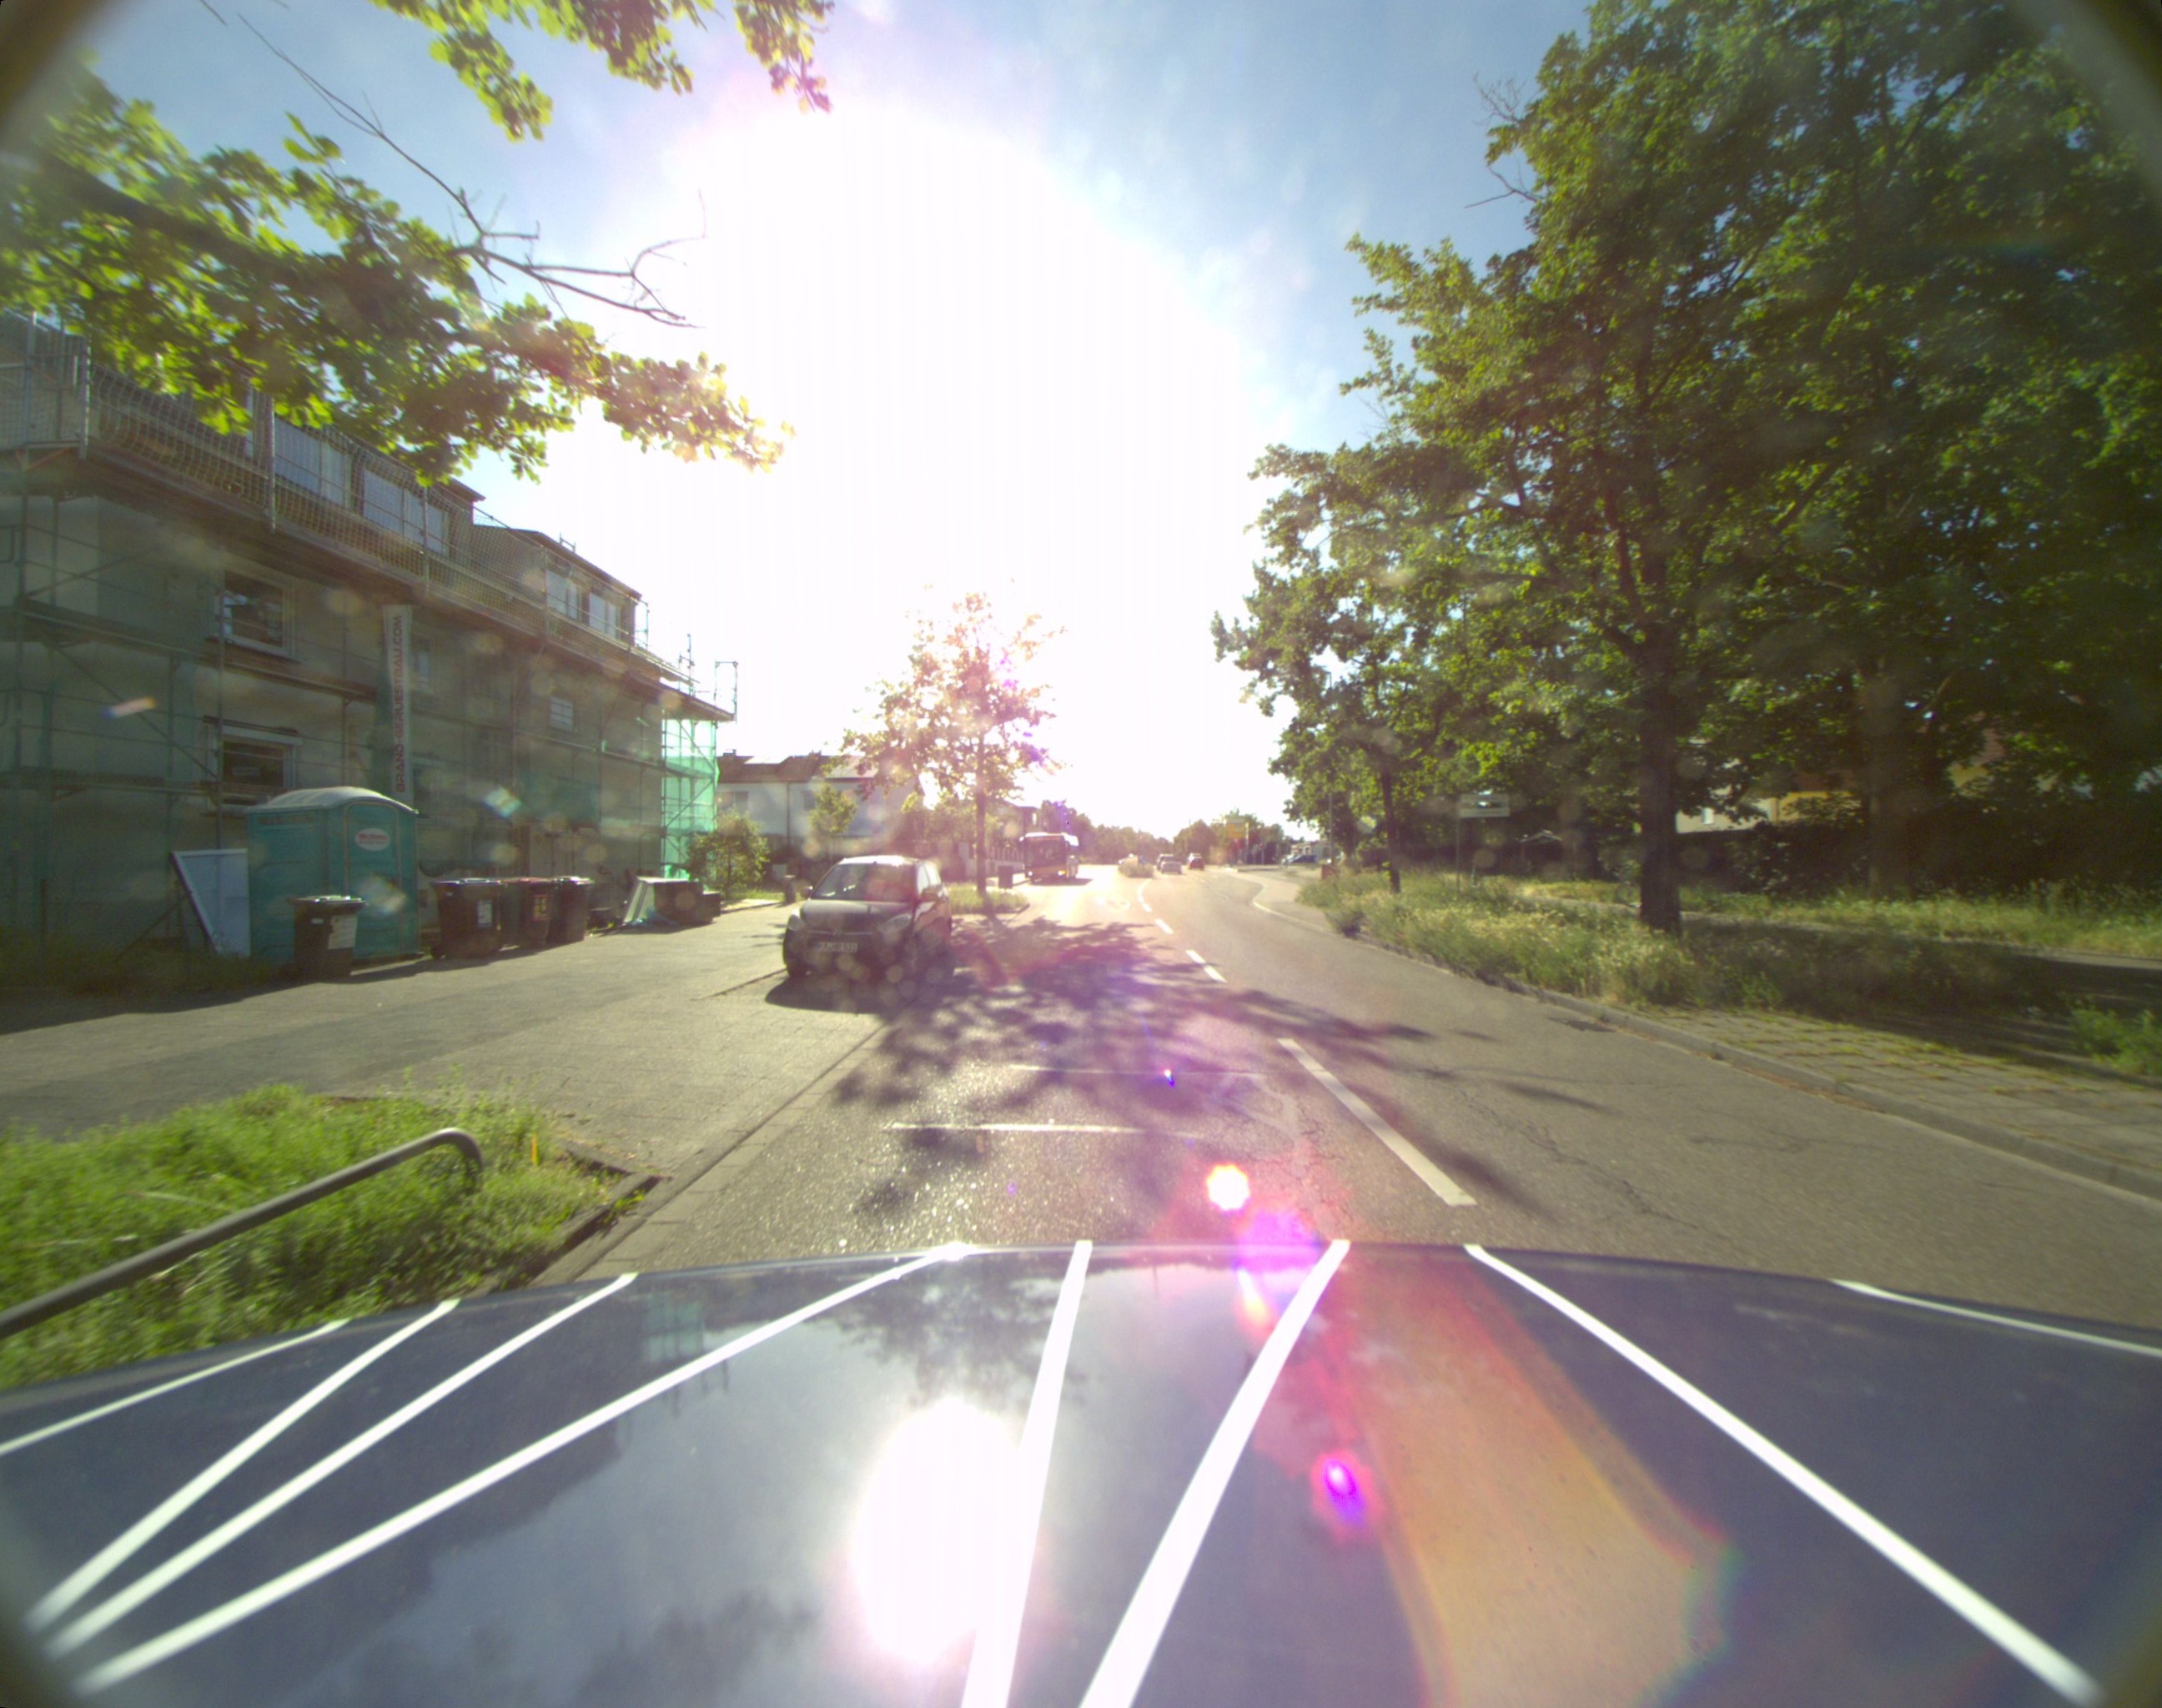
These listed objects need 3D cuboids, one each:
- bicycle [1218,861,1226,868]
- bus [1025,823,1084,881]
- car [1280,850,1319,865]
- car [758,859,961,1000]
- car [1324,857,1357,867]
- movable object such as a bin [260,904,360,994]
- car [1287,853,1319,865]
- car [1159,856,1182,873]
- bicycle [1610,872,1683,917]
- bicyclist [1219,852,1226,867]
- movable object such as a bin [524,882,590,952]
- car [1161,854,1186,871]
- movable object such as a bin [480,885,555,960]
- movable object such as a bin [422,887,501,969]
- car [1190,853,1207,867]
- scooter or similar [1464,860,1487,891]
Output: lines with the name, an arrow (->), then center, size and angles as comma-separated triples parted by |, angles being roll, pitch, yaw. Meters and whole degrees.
bicycle -> 16.739, 1.241, 90.068 | 0.750, 0.842, 1.991 | 1, 0, 4
bus -> -1.578, -0.208, 51.444 | 2.763, 3.438, 12.399 | 1, 1, 3
car -> 32.644, 0.538, 113.411 | 5.271, 2.001, 2.049 | 0, -2, 1
car -> -2.889, 0.896, 10.755 | 1.676, 1.569, 3.751 | 2, 0, 1
car -> 36.320, 1.142, 106.438 | 4.036, 1.266, 1.894 | 0, -2, 1
movable object such as a bin -> -8.549, 1.041, 8.443 | 0.530, 0.927, 0.549 | 0, 1, 0
car -> 31.045, 0.741, 106.408 | 4.036, 1.634, 1.894 | 0, -2, 1
car -> 8.456, 0.990, 72.368 | 1.998, 1.606, 4.532 | 1, 0, 5
bicycle -> 14.422, 1.019, 19.449 | 0.506, 1.047, 1.880 | 0, 0, 2
bicyclist -> 16.753, 0.659, 90.071 | 0.746, 1.692, 1.242 | 0, 0, 4
movable object such as a bin -> -8.409, 0.998, 12.220 | 0.605, 1.063, 0.646 | 0, 1, 0
car -> 8.059, 0.762, 66.686 | 1.998, 1.442, 4.401 | 1, 0, 5
movable object such as a bin -> -8.317, 0.996, 11.236 | 0.605, 1.063, 0.646 | 0, 1, 0
movable object such as a bin -> -8.412, 0.987, 10.336 | 0.605, 1.063, 0.567 | 0, 1, 0
car -> 12.968, 0.622, 84.101 | 1.649, 1.474, 3.715 | 1, 0, 5
scooter or similar -> 16.078, 0.862, 30.990 | 0.539, 1.211, 1.415 | -2, -1, 18
